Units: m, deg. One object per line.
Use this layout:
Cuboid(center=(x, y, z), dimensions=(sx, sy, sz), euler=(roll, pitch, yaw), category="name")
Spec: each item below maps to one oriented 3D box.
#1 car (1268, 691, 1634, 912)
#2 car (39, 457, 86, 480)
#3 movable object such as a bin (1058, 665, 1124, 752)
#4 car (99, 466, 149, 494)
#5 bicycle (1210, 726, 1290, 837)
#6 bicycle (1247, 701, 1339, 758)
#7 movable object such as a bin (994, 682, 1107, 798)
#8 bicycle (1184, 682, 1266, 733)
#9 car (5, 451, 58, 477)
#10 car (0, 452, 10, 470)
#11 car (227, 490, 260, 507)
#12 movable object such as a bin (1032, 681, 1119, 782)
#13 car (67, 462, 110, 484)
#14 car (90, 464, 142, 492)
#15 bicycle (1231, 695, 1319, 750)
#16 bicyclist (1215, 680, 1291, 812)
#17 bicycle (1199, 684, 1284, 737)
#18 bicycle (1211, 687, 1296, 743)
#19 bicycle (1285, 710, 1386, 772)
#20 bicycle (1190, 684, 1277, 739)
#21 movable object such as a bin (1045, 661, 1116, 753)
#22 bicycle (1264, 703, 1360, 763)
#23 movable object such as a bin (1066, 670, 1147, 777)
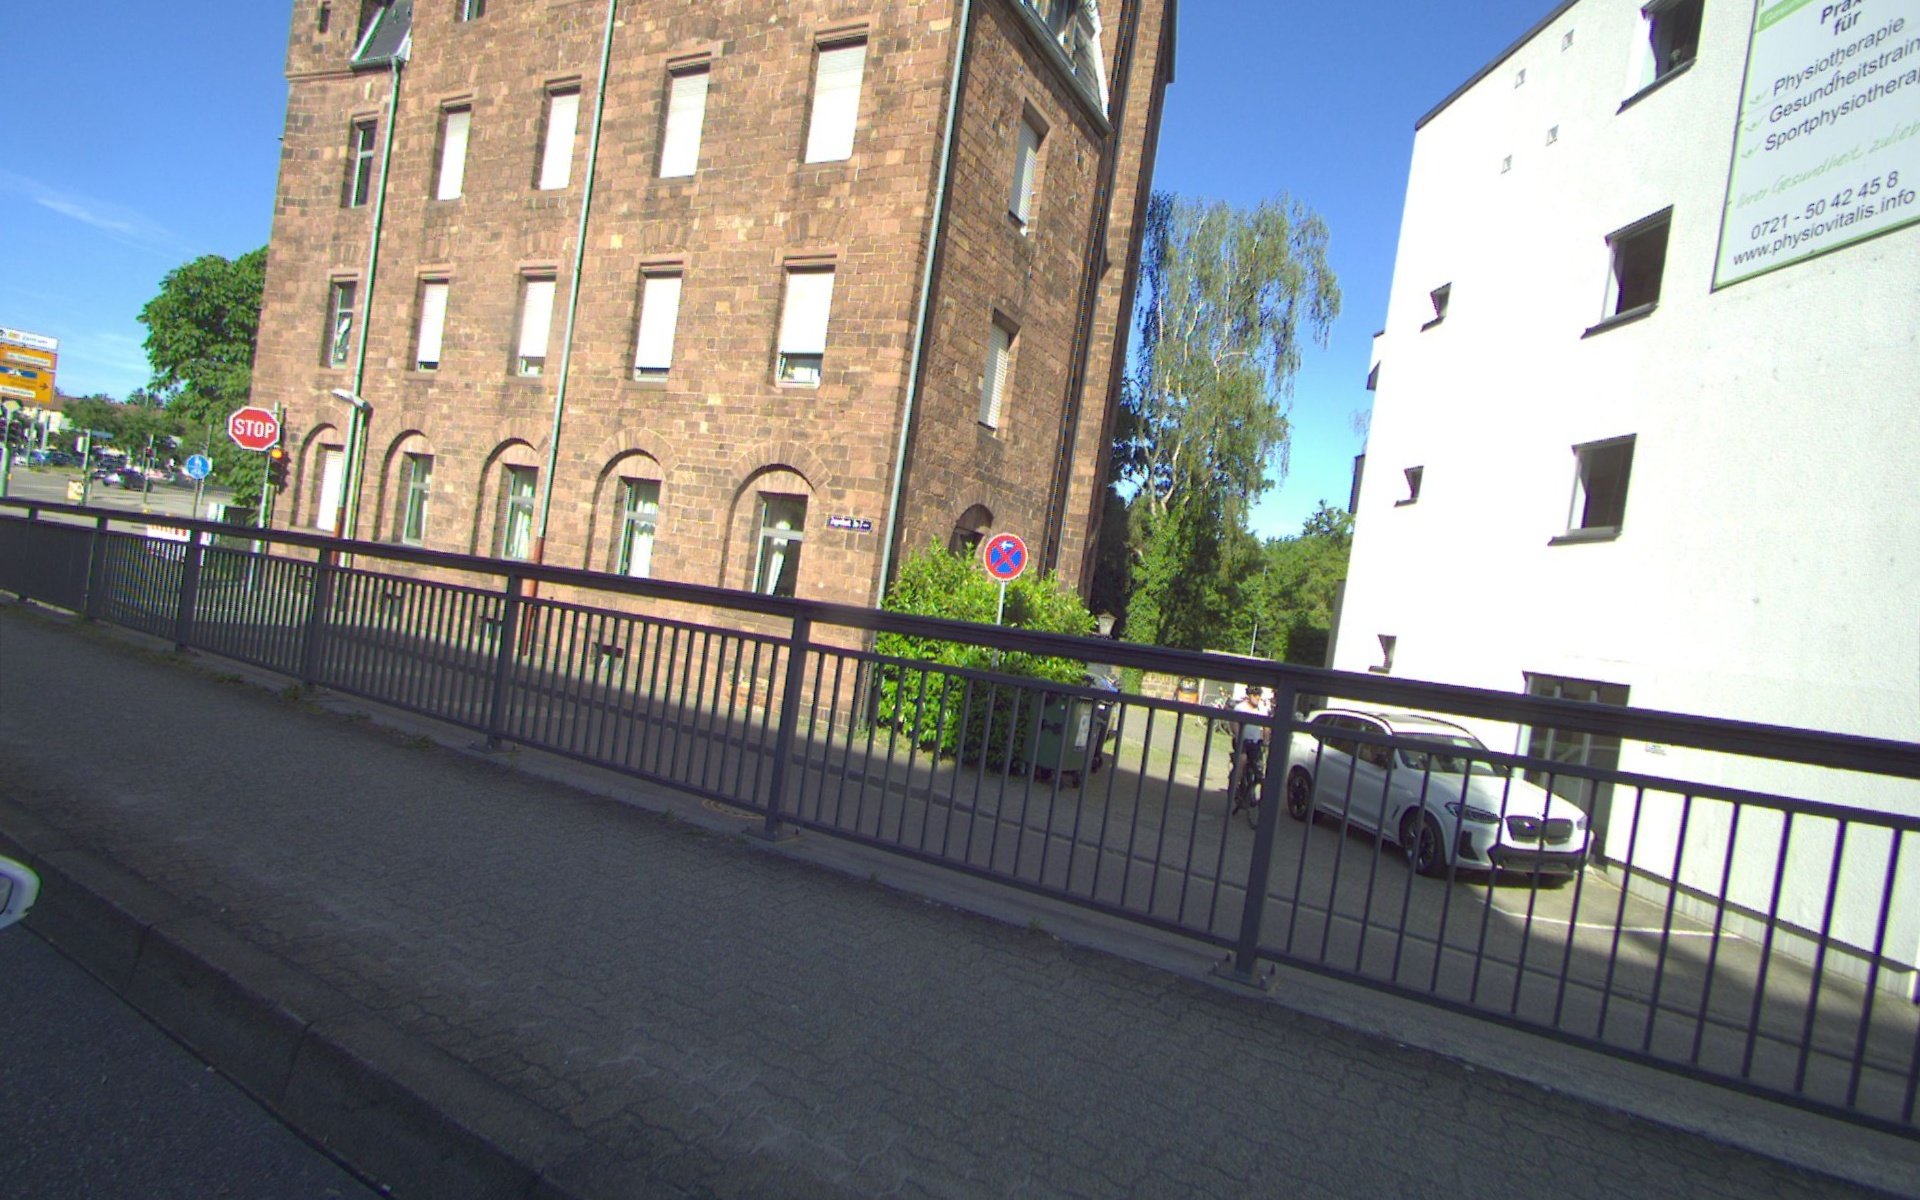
Cuboid(center=(6.009, 2.399, 13.094), dimensions=(1.814, 1.707, 4.521), euler=(8, 0, -9), category="car")
Cuboid(center=(-82.310, -12.029, 92.317), dimensions=(1.860, 1.598, 3.978), euler=(8, 1, -22), category="car")
Cuboid(center=(2.677, 2.180, 20.445), dimensions=(1.009, 1.539, 1.007), euler=(9, 0, 14), category="movable object such as a bin")
Cuboid(center=(-63.082, -8.993, 75.929), dimensions=(1.722, 1.515, 3.978), euler=(7, -1, -24), category="car")
Cuboid(center=(3.891, 2.406, 13.643), dimensions=(0.677, 1.154, 1.841), euler=(9, -1, 10), category="bicycle")
Cuboid(center=(8.005, 3.106, 24.241), dimensions=(1.889, 1.065, 0.664), euler=(8, 1, -6), category="bicycle")
Cuboid(center=(1.225, 1.850, 13.506), dimensions=(1.011, 1.307, 1.005), euler=(9, 0, 29), category="movable object such as a bin")
Cuboid(center=(7.695, 3.128, 29.254), dimensions=(2.075, 1.174, 0.664), euler=(8, 1, -9), category="bicycle")
Cuboid(center=(-79.889, -11.668, 86.615), dimensions=(1.860, 1.598, 3.978), euler=(8, 1, -22), category="car")
Cuboid(center=(-90.016, -13.054, 92.883), dimensions=(1.860, 1.598, 3.978), euler=(8, 1, -22), category="car")
Cuboid(center=(-74.774, -10.601, 105.033), dimensions=(1.976, 1.382, 4.283), euler=(8, 2, -26), category="car")
Cuboid(center=(1.793, 1.997, 15.468), dimensions=(1.009, 1.307, 1.007), euler=(9, 0, 14), category="movable object such as a bin")
Cuboid(center=(-85.451, -12.426, 98.674), dimensions=(1.860, 1.598, 3.978), euler=(8, 1, -22), category="car")
Cuboid(center=(-70.131, -10.115, 83.694), dimensions=(1.864, 1.565, 3.985), euler=(8, -2, -19), category="car")
Cuboid(center=(7.901, 3.075, 25.268), dimensions=(1.889, 1.065, 0.664), euler=(8, 1, -6), category="bicycle")
Cuboid(center=(3.960, 1.957, 13.641), dimensions=(0.675, 1.627, 0.697), euler=(9, 0, 10), category="bicyclist")
Cuboid(center=(7.938, 3.127, 28.401), dimensions=(2.075, 1.174, 0.664), euler=(8, 1, -9), category="bicycle")
Cuboid(center=(7.699, 3.018, 26.436), dimensions=(1.889, 1.174, 0.664), euler=(8, 1, -6), category="bicycle")
Cuboid(center=(8.366, 3.130, 22.439), dimensions=(1.889, 1.065, 0.664), euler=(8, 1, -6), category="bicycle")
Cuboid(center=(7.437, 3.020, 27.369), dimensions=(2.075, 1.174, 0.664), euler=(8, 1, -9), category="bicycle")
Cuboid(center=(2.317, 2.015, 19.256), dimensions=(1.009, 1.539, 1.007), euler=(9, 0, 14), category="movable object such as a bin")
Cuboid(center=(8.161, 3.086, 23.353), dimensions=(1.889, 1.065, 0.664), euler=(8, 1, -6), category="bicycle")
Cuboid(center=(2.433, 2.014, 16.650), dimensions=(1.009, 1.539, 1.007), euler=(9, 0, 14), category="movable object such as a bin")
